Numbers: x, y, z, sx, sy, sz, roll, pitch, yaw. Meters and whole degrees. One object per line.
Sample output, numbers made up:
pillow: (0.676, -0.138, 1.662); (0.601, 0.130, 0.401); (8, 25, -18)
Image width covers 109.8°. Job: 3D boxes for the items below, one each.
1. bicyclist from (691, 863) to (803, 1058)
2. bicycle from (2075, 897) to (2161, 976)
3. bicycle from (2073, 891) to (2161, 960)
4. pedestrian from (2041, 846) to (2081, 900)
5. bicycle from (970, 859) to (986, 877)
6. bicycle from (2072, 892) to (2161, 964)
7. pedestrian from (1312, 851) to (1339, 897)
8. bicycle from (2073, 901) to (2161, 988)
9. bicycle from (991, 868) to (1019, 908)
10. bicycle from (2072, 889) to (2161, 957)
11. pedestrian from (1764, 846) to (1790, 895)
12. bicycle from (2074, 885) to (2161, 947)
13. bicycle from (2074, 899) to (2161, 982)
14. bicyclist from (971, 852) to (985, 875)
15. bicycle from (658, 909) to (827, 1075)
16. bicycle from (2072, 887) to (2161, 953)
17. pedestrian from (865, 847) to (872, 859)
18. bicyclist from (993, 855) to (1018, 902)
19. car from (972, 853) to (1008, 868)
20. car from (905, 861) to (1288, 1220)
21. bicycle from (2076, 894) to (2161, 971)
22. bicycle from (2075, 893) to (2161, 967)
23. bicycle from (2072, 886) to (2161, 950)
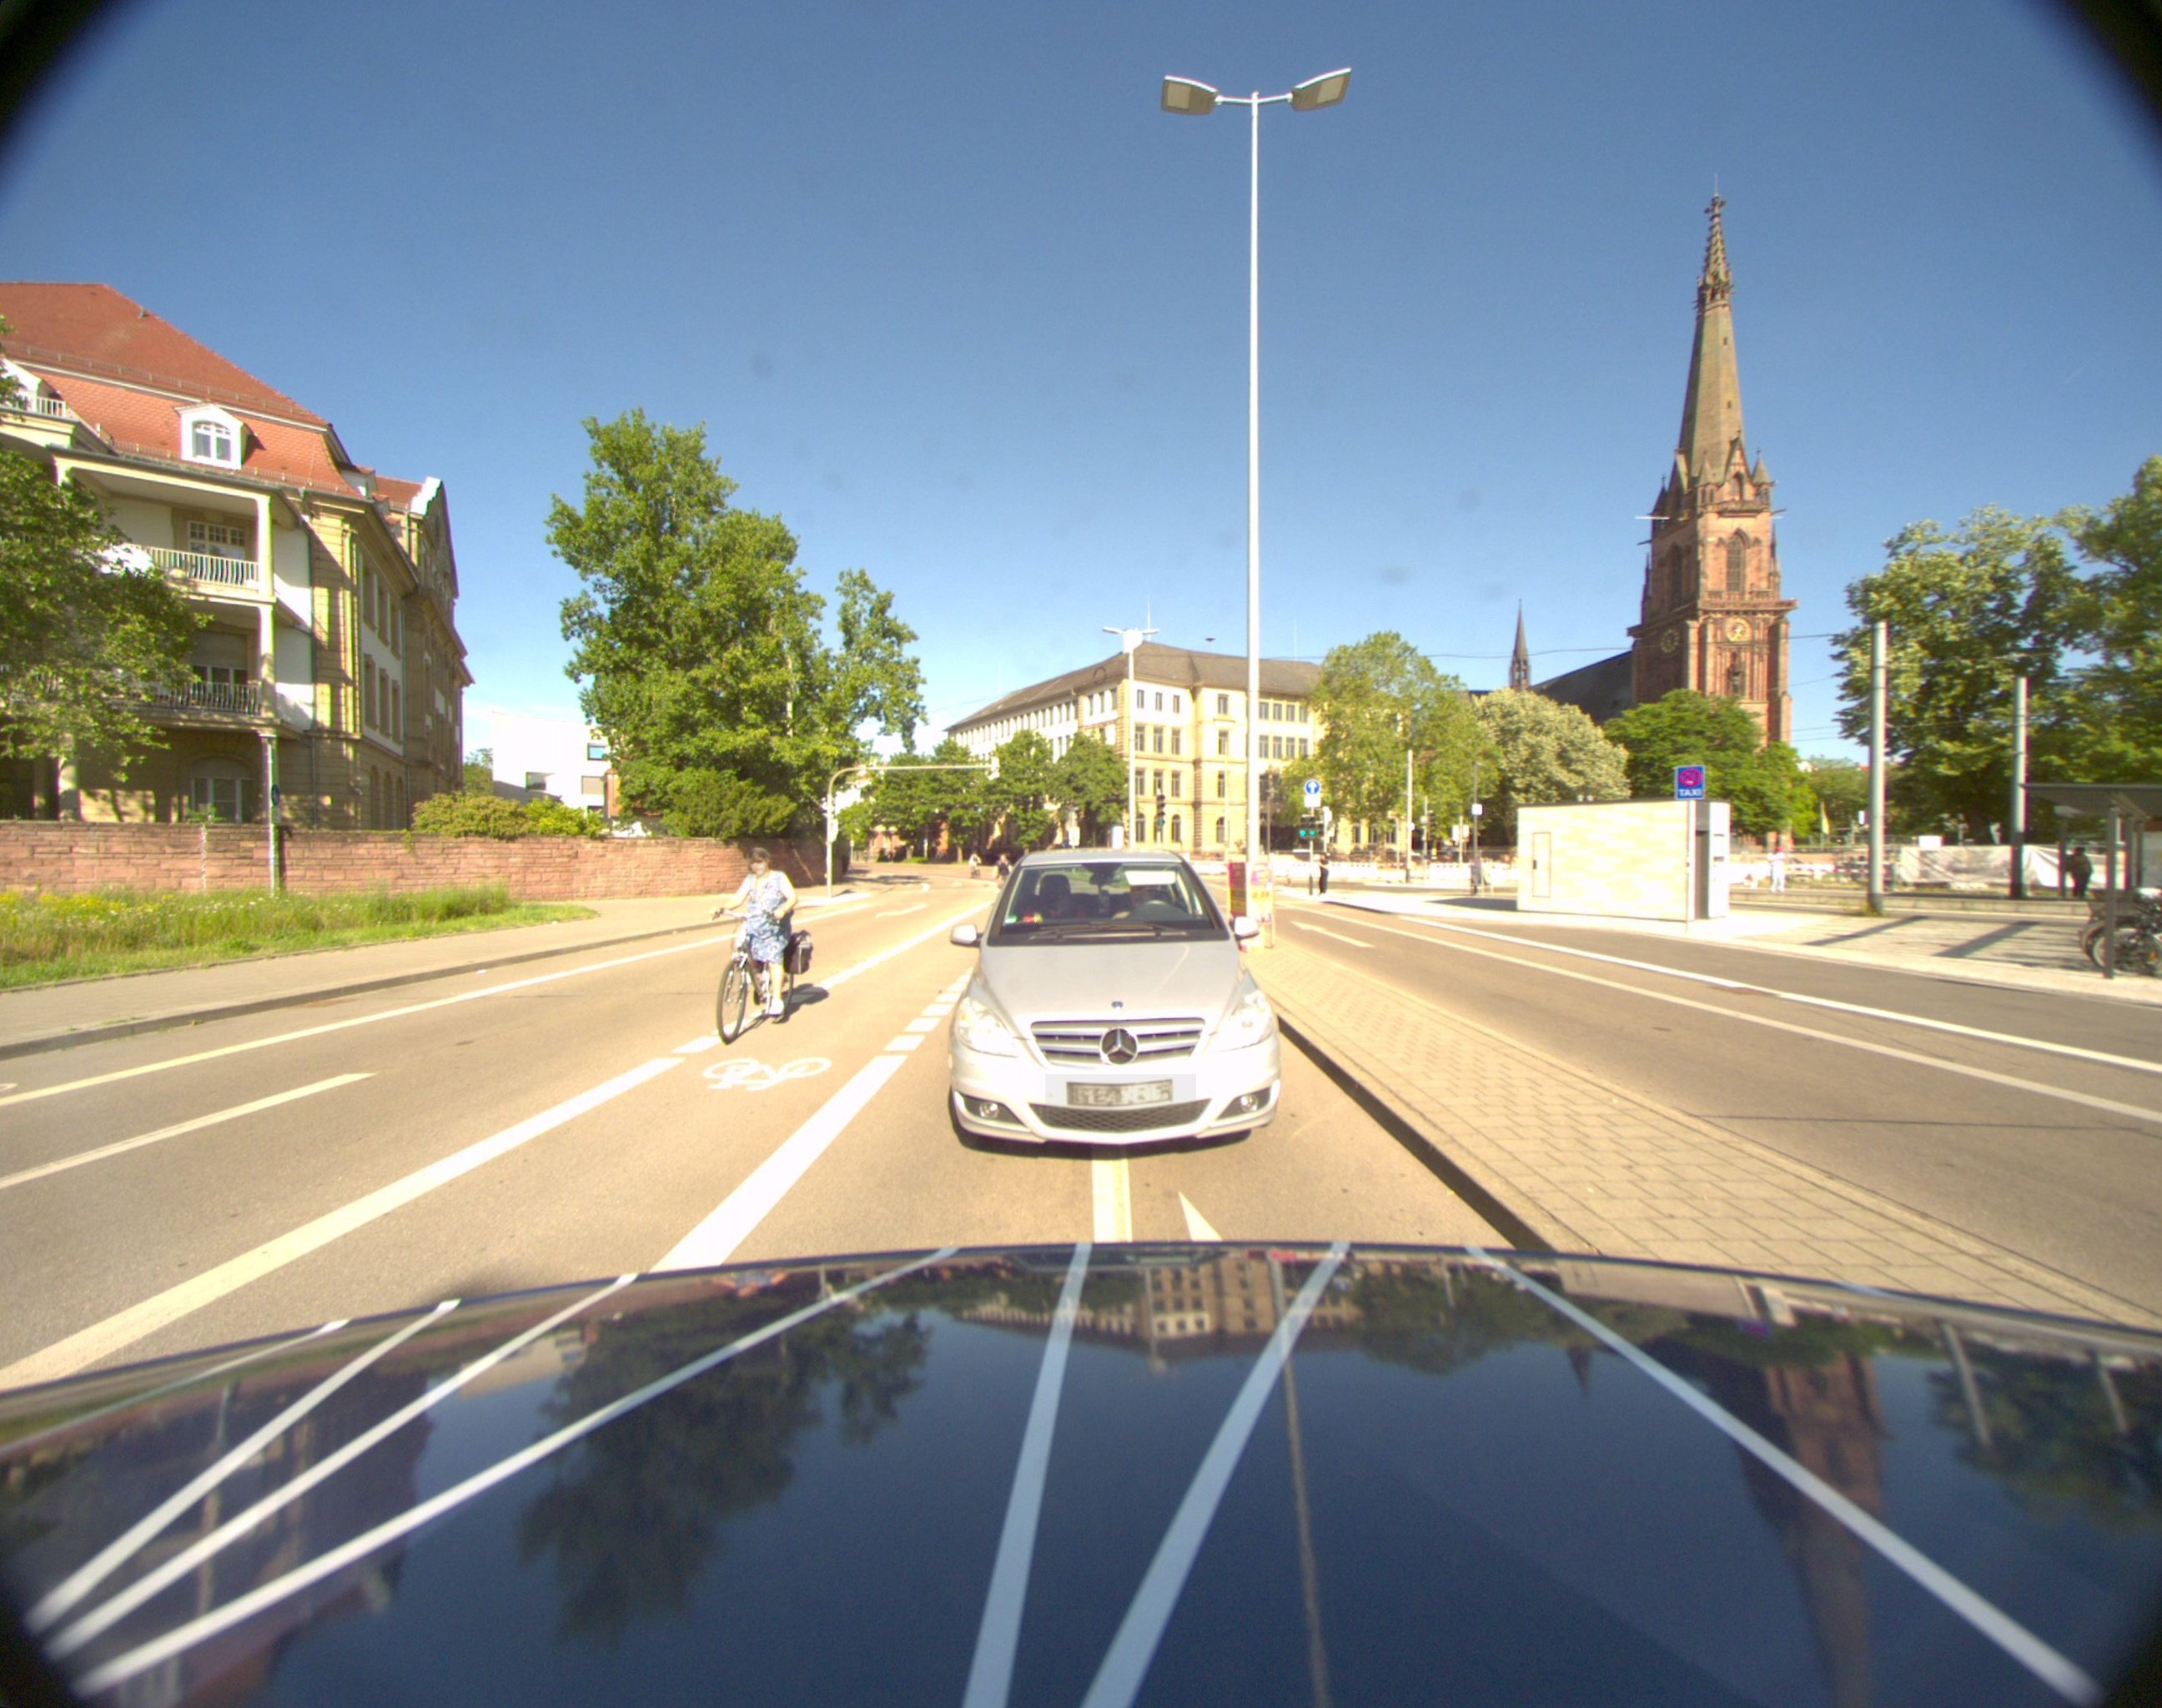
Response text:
bicyclist: (-3.026, 0.928, 6.953); (0.643, 1.653, 0.776); (-1, 2, 0)
bicycle: (15.148, 1.167, 10.439); (0.569, 1.032, 1.783); (1, 1, -37)
bicycle: (17.170, 1.154, 12.011); (0.569, 1.032, 1.783); (1, 1, -37)
pedestrian: (30.535, 0.587, 23.680); (0.567, 1.645, 0.518); (-2, 1, 1)
bicycle: (-7.029, 0.937, 52.103); (0.778, 1.158, 1.968); (-1, 1, 1)
bicycle: (16.677, 1.163, 11.636); (0.569, 1.032, 1.783); (1, 1, -37)
pedestrian: (9.280, 0.757, 28.872); (0.789, 1.671, 0.648); (-2, 1, 2)
bicycle: (14.020, 1.182, 9.590); (0.569, 1.032, 1.783); (1, 1, -37)
bicycle: (-2.354, 1.055, 23.817); (0.642, 1.158, 1.870); (-1, 0, 1)
bicycle: (17.695, 1.144, 12.422); (0.569, 1.032, 1.783); (1, 1, -37)
pedestrian: (25.151, 0.613, 27.459); (0.537, 1.712, 0.684); (-1, -4, 31)
bicycle: (19.137, 1.109, 13.495); (0.569, 1.032, 1.783); (1, 1, -37)
bicycle: (14.544, 1.172, 9.981); (0.569, 1.032, 1.783); (1, 1, -37)
bicyclist: (-7.040, 0.627, 52.134); (0.778, 1.543, 0.919); (-1, 1, 1)
bicycle: (-3.030, 1.175, 7.046); (0.642, 1.158, 1.968); (-1, 1, 1)
bicycle: (18.168, 1.131, 12.788); (0.569, 1.032, 1.783); (1, 1, -37)
pedestrian: (-30.041, -0.107, 107.359); (0.637, 1.602, 0.844); (-3, 1, -33)
bicyclist: (-2.350, 0.747, 23.672); (0.643, 1.436, 0.953); (-1, 0, 1)
car: (-10.815, 0.753, 90.485); (1.994, 1.805, 3.809); (1, 1, 44)
car: (0.124, 0.904, 5.872); (1.770, 1.584, 4.638); (-1, 1, 1)
bicycle: (15.702, 1.155, 10.852); (0.569, 1.032, 1.783); (1, 1, -37)
bicycle: (16.199, 1.154, 11.244); (0.569, 1.032, 1.783); (1, 1, -37)
bicycle: (18.652, 1.121, 13.150); (0.569, 1.032, 1.783); (1, 1, -37)
